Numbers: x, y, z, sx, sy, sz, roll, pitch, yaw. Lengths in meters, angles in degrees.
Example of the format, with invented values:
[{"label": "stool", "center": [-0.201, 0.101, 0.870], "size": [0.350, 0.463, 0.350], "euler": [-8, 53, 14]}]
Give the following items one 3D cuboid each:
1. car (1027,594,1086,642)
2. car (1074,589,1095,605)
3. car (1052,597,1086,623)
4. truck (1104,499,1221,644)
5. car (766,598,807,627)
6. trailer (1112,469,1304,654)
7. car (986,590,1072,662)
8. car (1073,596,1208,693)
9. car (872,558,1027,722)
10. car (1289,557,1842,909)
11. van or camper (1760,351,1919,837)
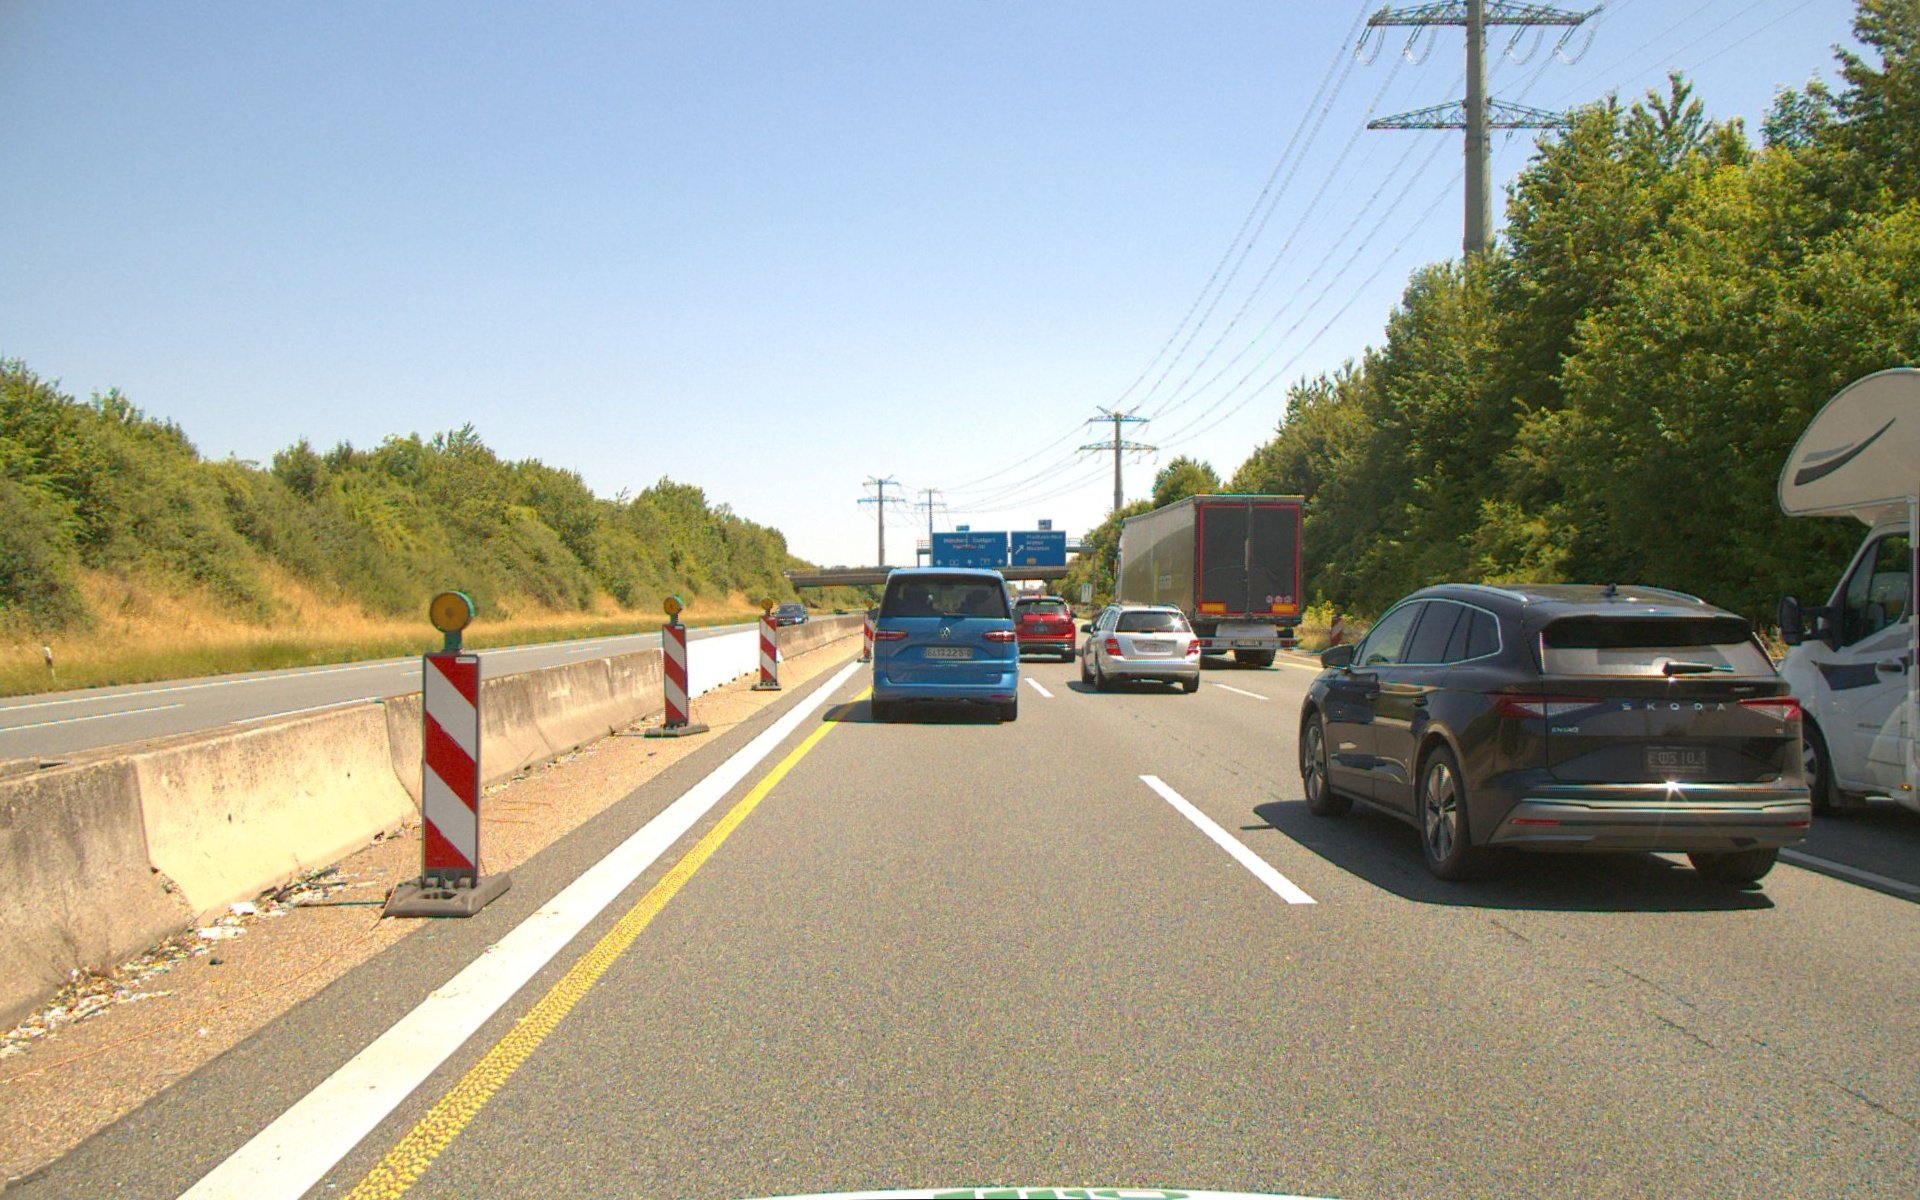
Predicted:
[{"label": "car", "center": [3.403, 0.635, 59.209], "size": [1.761, 1.622, 4.226], "euler": [1, 0, -1]}, {"label": "car", "center": [14.170, -0.320, 188.259], "size": [1.837, 1.700, 4.358], "euler": [1, 0, -2]}, {"label": "car", "center": [6.427, 0.606, 97.487], "size": [1.666, 1.473, 3.786], "euler": [1, 0, -1]}, {"label": "truck", "center": [6.098, -0.806, 50.644], "size": [2.678, 4.118, 5.791], "euler": [1, 0, -1]}, {"label": "car", "center": [-9.660, 0.677, 92.364], "size": [1.824, 1.516, 4.492], "euler": [-1, 0, -1]}, {"label": "trailer", "center": [6.230, -0.837, 43.993], "size": [2.727, 4.118, 13.107], "euler": [1, 0, -2]}, {"label": "car", "center": [1.714, 0.634, 42.118], "size": [1.837, 1.700, 4.358], "euler": [1, 0, -2]}, {"label": "car", "center": [3.093, 0.742, 29.112], "size": [1.735, 1.544, 4.358], "euler": [1, 0, -2]}, {"label": "car", "center": [-0.201, 0.500, 22.179], "size": [1.837, 1.945, 4.358], "euler": [1, 0, -2]}, {"label": "car", "center": [3.402, 0.661, 10.286], "size": [1.666, 1.684, 4.428], "euler": [1, 0, -2]}, {"label": "van or camper", "center": [7.291, -0.027, 8.744], "size": [2.321, 3.097, 7.631], "euler": [1, 0, -1]}]
